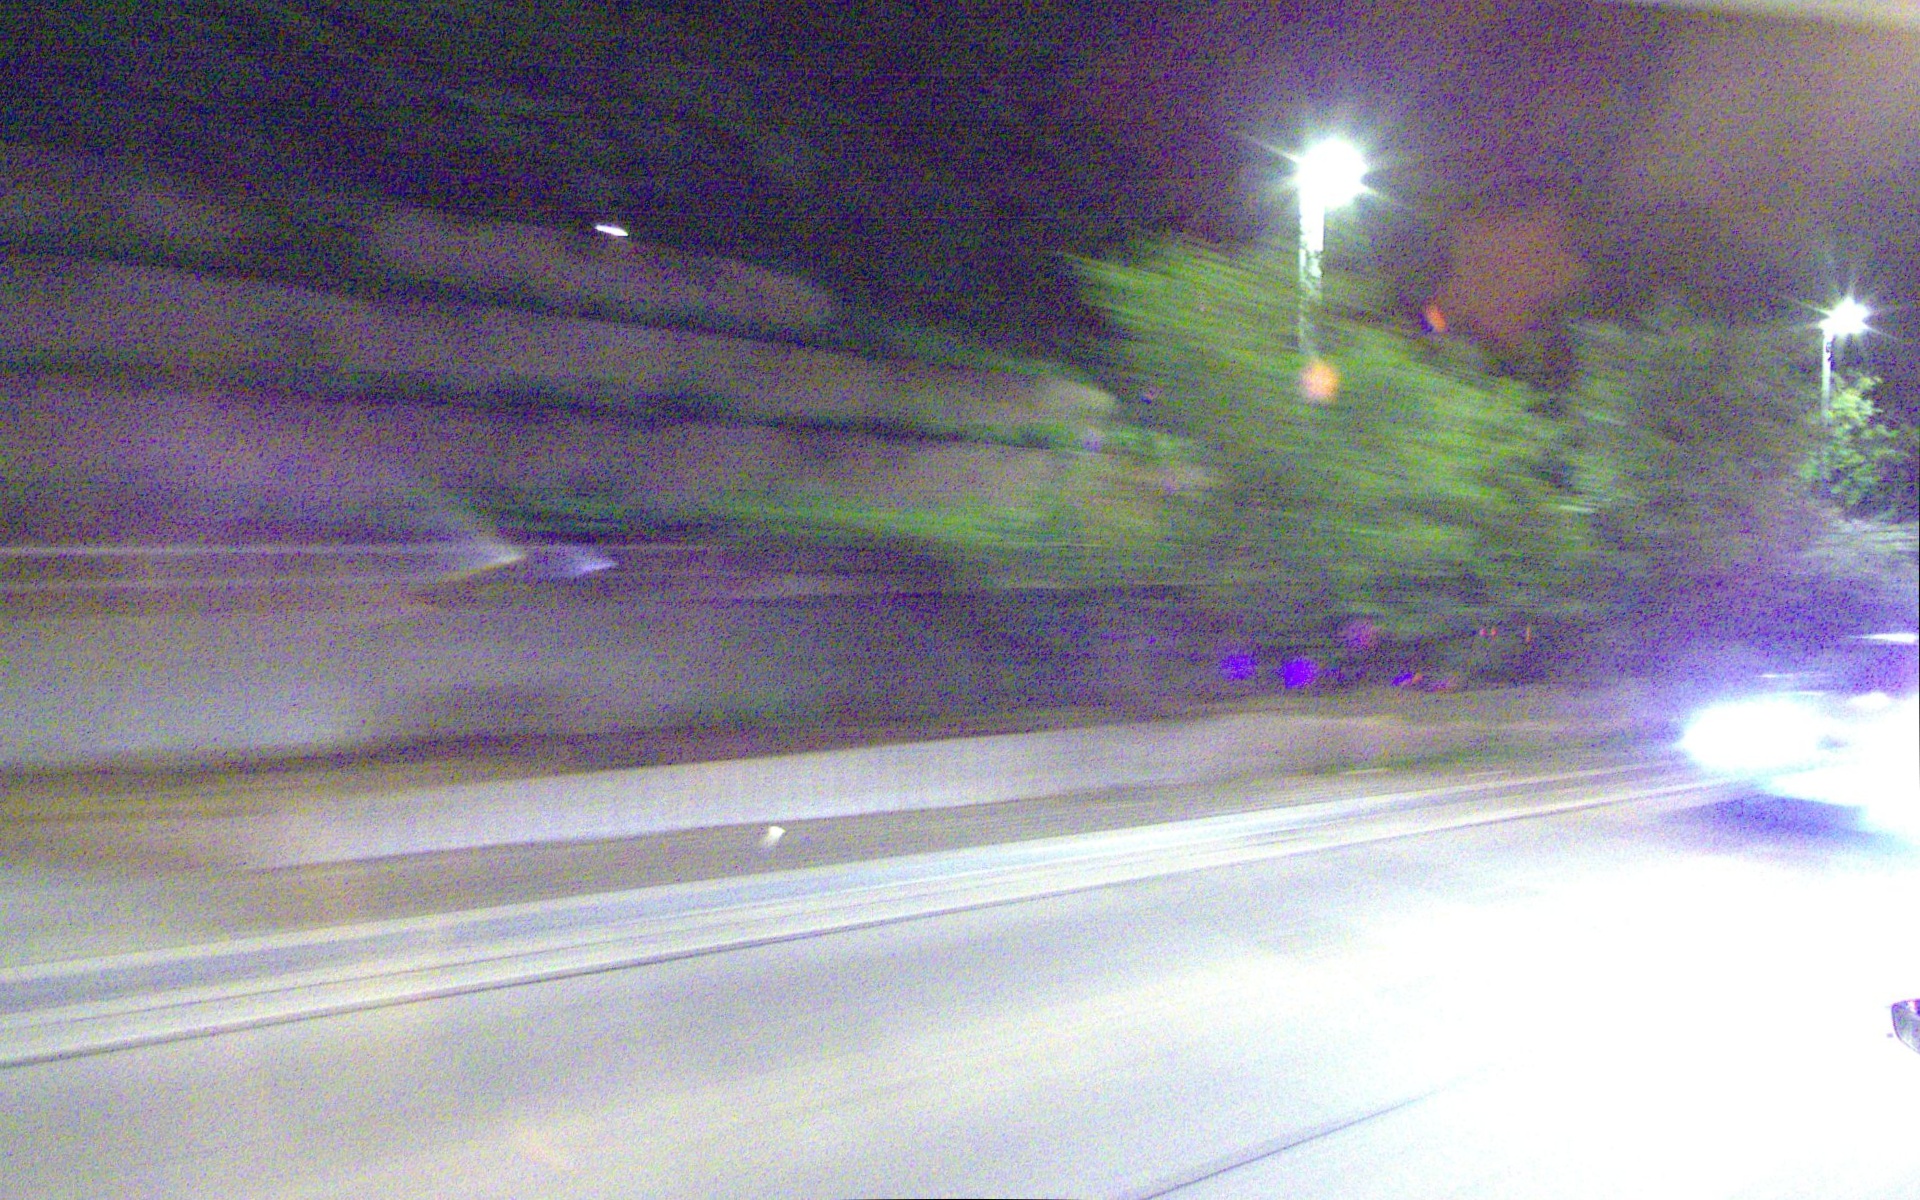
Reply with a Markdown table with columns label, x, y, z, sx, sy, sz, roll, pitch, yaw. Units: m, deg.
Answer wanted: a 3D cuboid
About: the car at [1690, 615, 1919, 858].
| label | x | y | z | sx | sy | sz | roll | pitch | yaw |
| --- | --- | --- | --- | --- | --- | --- | --- | --- | --- |
| car | 7.581 | 0.942 | 7.659 | 4.125 | 1.466 | 1.778 | 3 | 0 | -31 |
